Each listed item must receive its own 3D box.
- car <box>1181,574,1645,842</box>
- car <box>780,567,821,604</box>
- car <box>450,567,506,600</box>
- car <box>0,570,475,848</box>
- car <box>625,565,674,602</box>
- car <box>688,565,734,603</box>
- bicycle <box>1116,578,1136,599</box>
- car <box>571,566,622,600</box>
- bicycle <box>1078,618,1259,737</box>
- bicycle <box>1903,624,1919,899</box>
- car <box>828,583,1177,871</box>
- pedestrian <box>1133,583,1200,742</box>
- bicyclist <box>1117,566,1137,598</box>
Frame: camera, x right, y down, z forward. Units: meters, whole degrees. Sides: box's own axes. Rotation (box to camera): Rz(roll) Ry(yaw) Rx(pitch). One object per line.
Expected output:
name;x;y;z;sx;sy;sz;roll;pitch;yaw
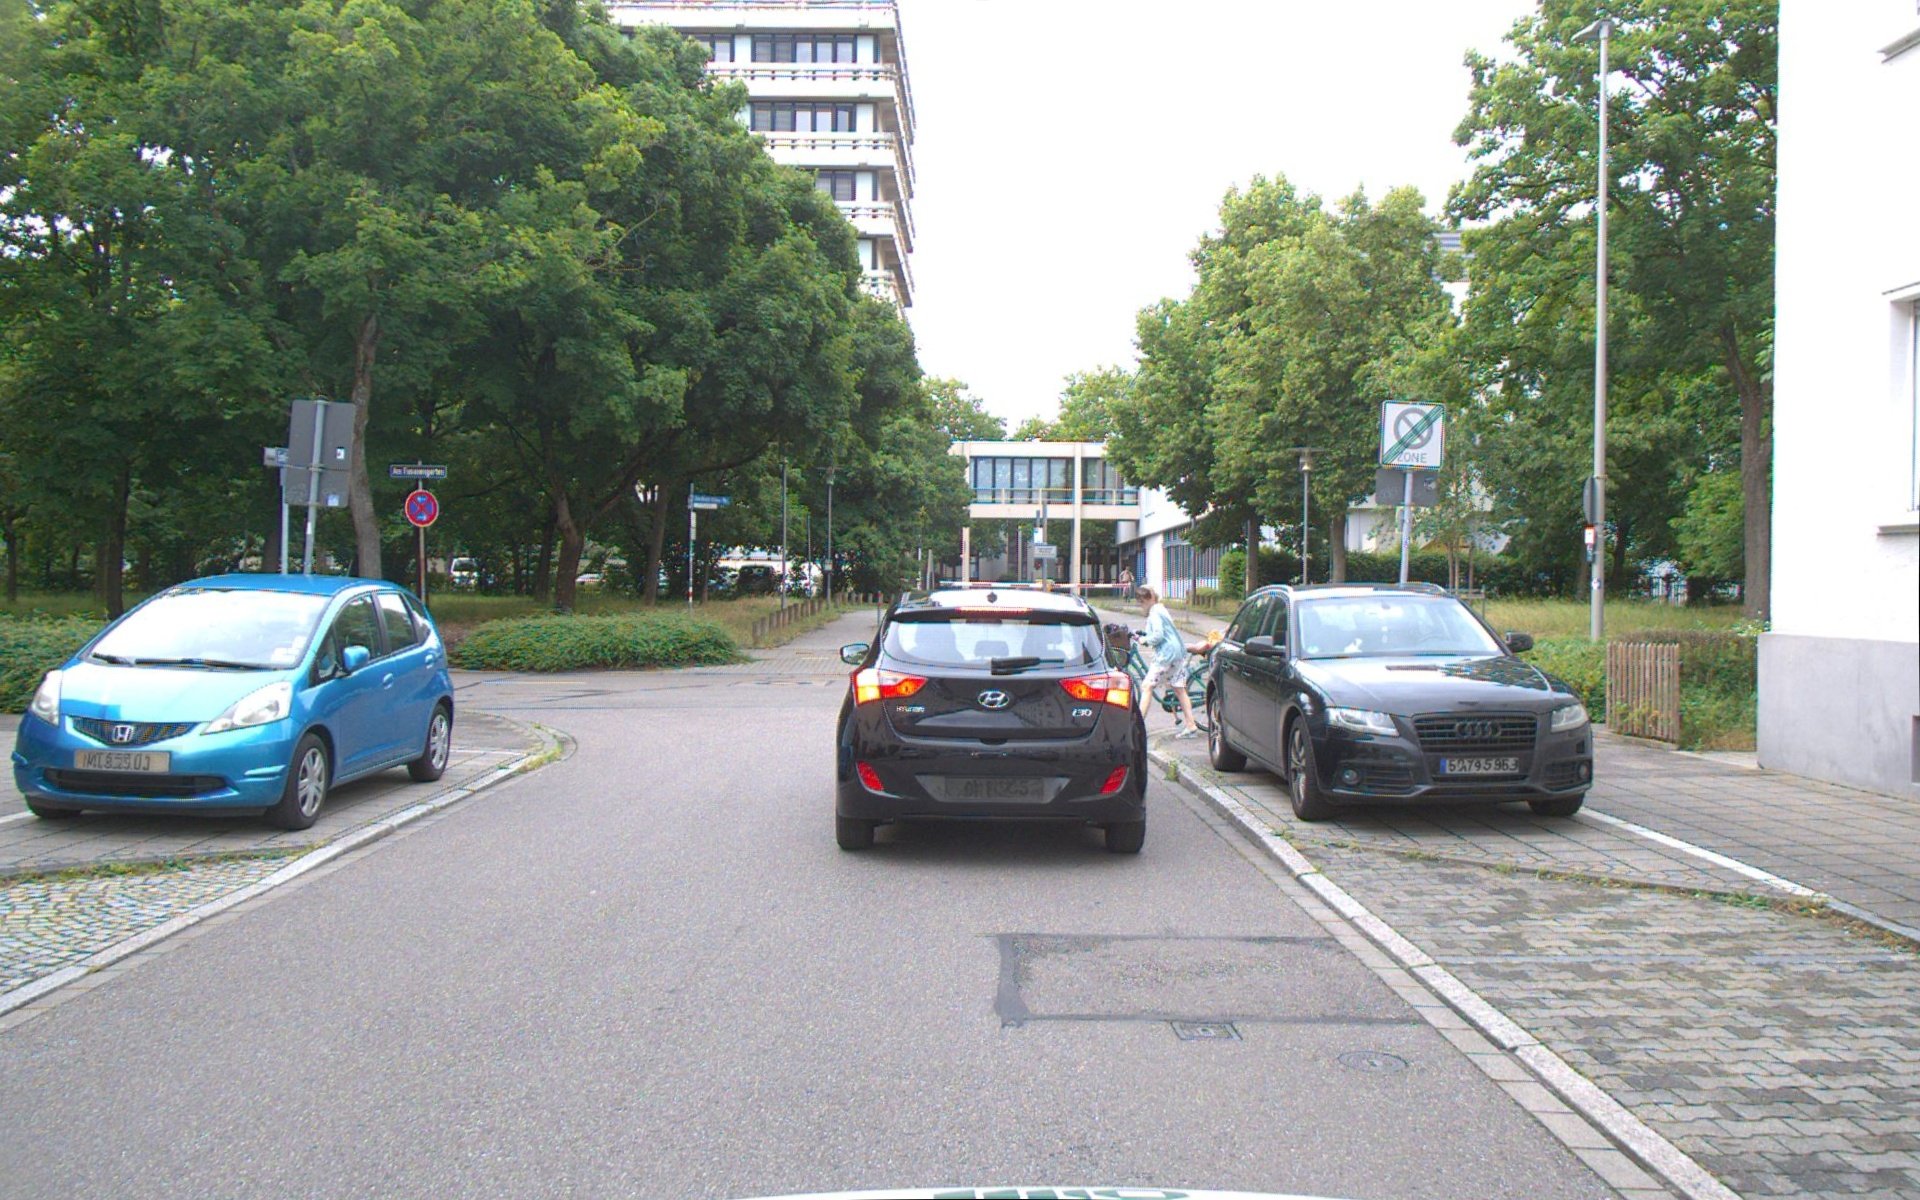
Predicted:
car;2.884;0.573;11.702;1.823;1.488;4.724;-1;1;-2
car;-8.008;-0.716;83.445;1.954;1.792;3.996;0;0;-4
car;-24.299;-0.826;83.540;1.880;1.646;3.997;0;1;-4
car;-4.743;0.587;11.285;1.695;1.488;3.956;3;1;-1
car;-15.552;-0.813;83.003;1.954;1.758;3.996;0;-1;-4
car;-12.510;-0.775;83.352;1.954;1.825;3.996;0;-1;-4
bicycle;8.845;-0.602;88.258;0.849;1.093;2.142;0;1;1
car;-18.218;-0.845;83.054;1.954;1.646;3.997;0;1;-4
bicycle;2.168;0.791;17.239;1.779;1.139;0.537;-2;1;-9
bicycle;4.628;0.724;6.493;0.733;1.221;1.895;-2;1;-1
car;0.144;0.657;10.529;1.809;1.488;3.826;1;0;-3
pedestrian;2.107;0.627;16.906;0.555;1.576;0.447;-2;1;-7
bicyclist;8.922;-0.952;88.400;0.996;1.673;0.923;0;1;1
